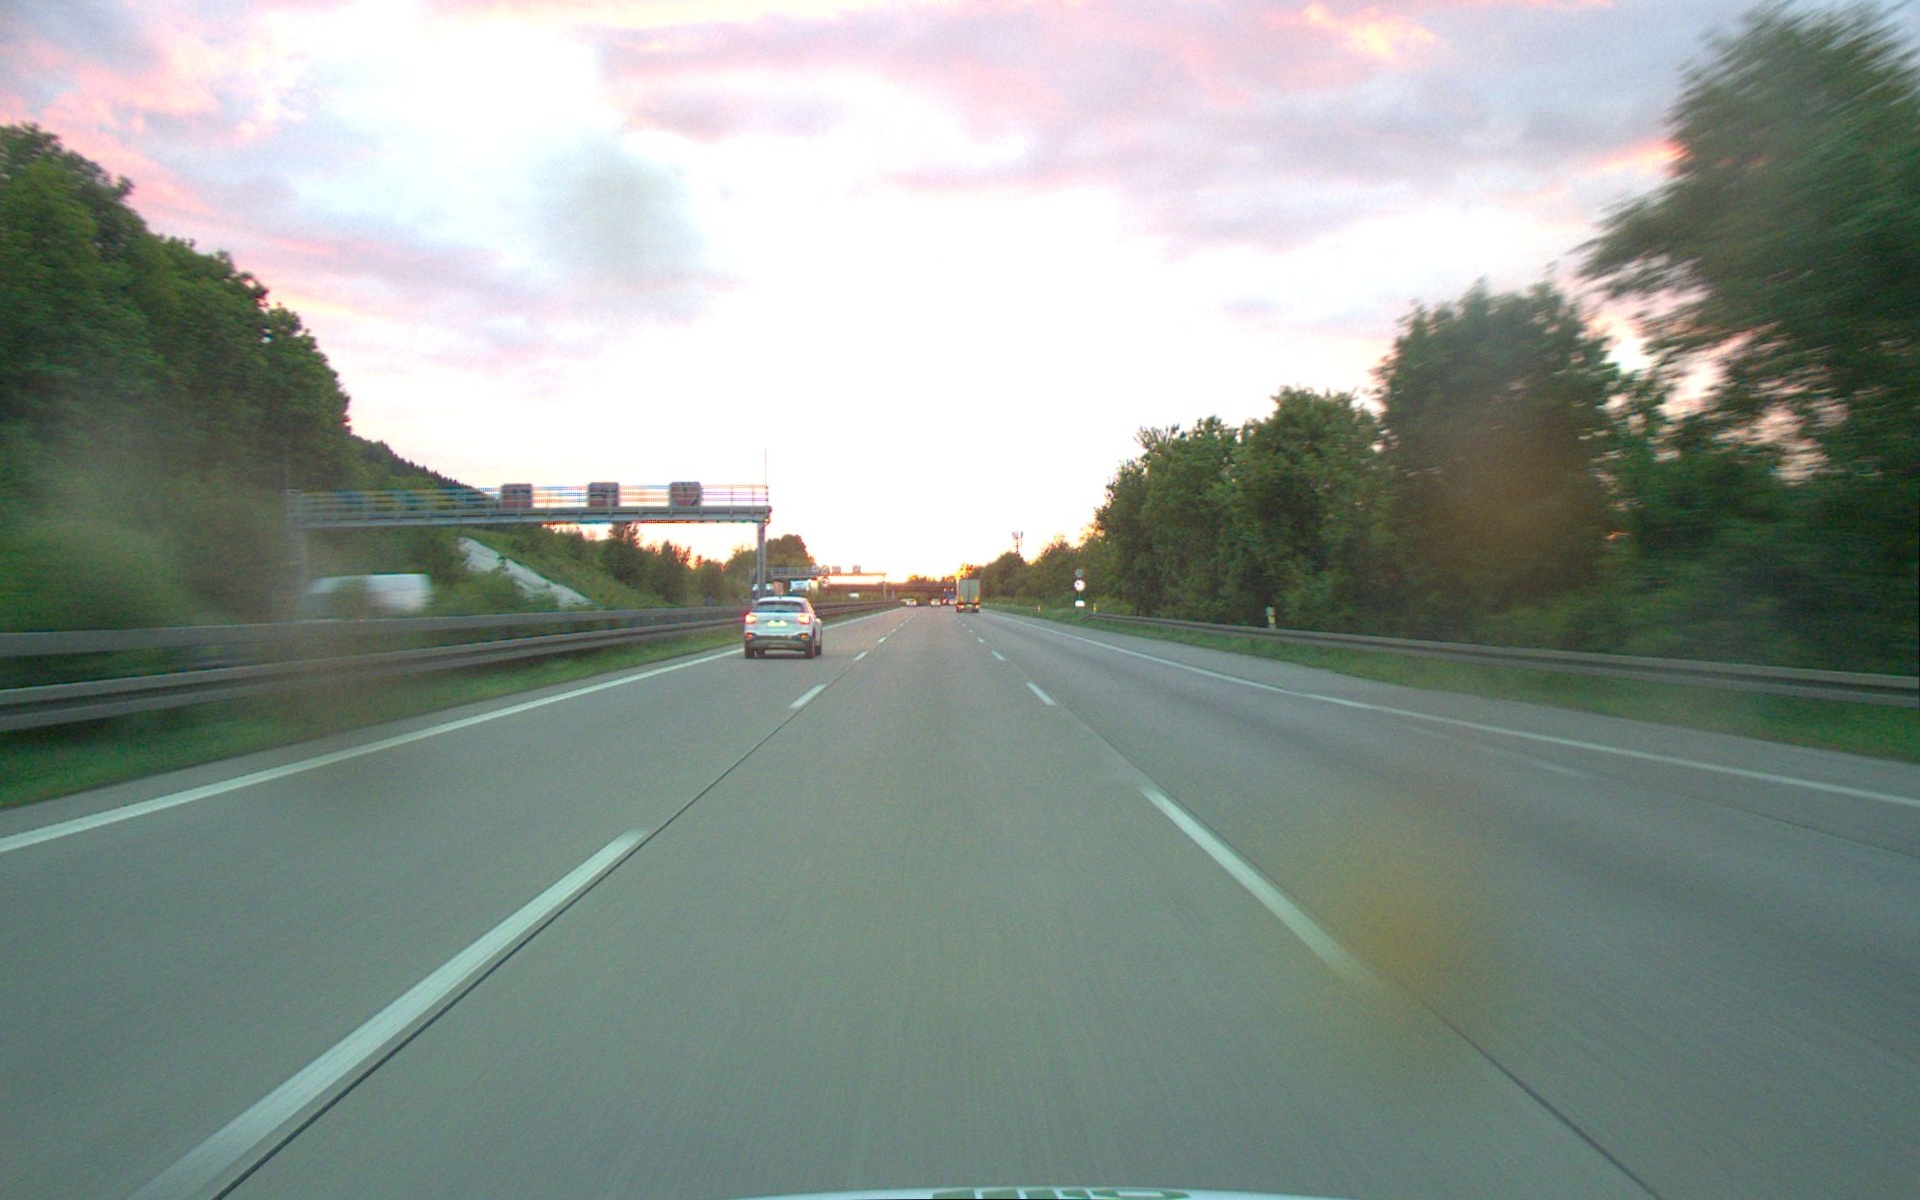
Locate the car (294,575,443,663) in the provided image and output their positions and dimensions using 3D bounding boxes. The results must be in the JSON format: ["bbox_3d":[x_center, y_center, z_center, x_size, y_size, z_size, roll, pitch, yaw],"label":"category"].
[{"bbox_3d":[-17.253,0.530,48.686,2.094,2.400,6.717,0,0,-1],"label":"car"}]

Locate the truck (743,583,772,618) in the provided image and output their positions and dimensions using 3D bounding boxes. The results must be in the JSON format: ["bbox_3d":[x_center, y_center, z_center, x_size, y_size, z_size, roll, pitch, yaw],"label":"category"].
[{"bbox_3d":[-25.020,0.069,204.362,2.798,4.284,5.863,-1,0,-1],"label":"truck"}]

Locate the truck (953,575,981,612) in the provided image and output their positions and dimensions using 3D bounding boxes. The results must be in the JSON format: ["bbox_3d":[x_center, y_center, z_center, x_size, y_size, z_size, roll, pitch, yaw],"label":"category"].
[{"bbox_3d":[0.856,-0.741,195.561,3.178,4.199,9.786,-1,0,0],"label":"truck"}]

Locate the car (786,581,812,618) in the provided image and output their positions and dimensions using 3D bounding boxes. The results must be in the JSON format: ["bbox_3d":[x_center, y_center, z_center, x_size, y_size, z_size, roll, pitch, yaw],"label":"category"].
[{"bbox_3d":[-20.095,-0.032,207.156,2.741,4.566,5.928,0,0,-1],"label":"car"}]

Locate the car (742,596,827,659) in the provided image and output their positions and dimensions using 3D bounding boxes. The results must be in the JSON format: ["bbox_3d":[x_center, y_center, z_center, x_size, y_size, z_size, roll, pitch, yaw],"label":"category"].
[{"bbox_3d":[-4.504,0.669,43.040,1.753,1.527,5.036,1,0,-1],"label":"car"}]
